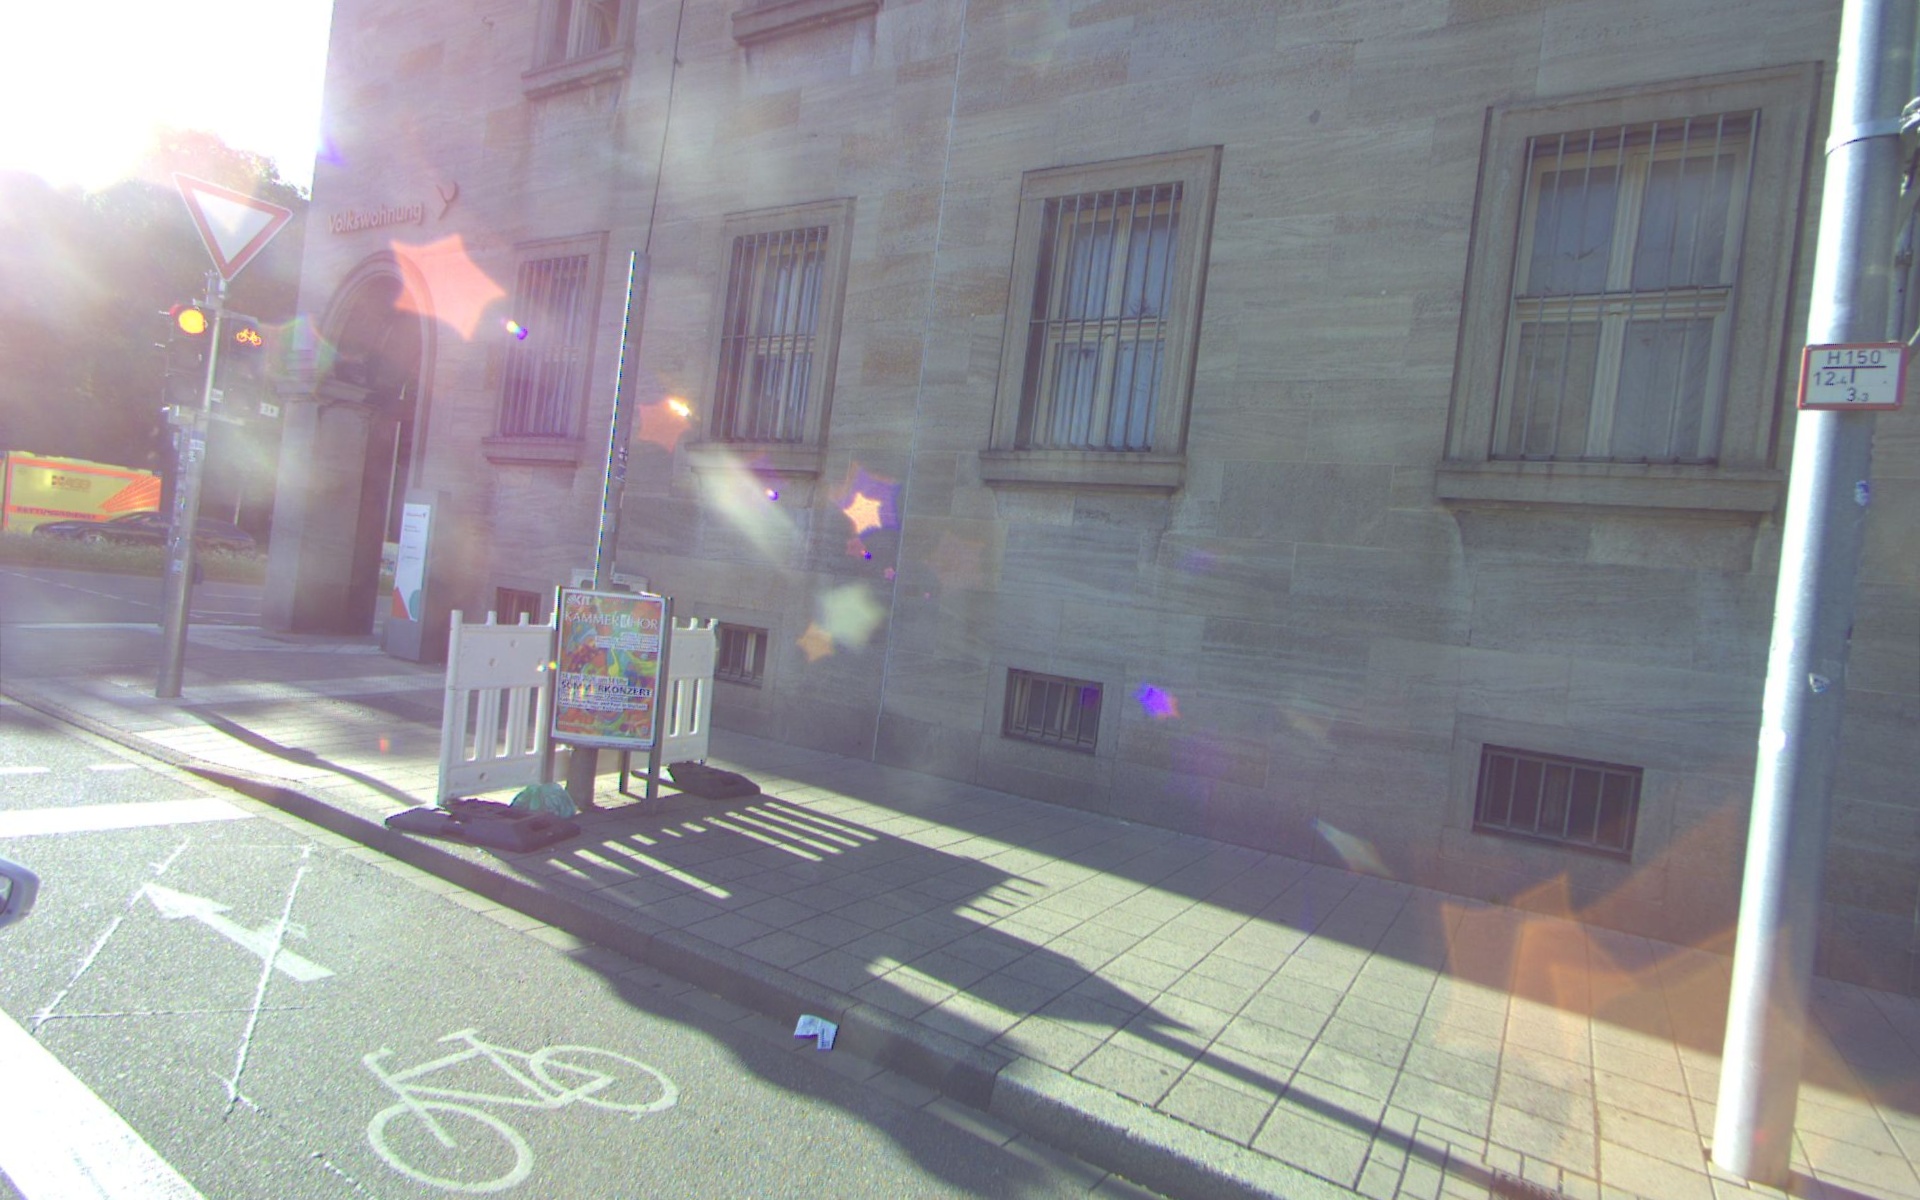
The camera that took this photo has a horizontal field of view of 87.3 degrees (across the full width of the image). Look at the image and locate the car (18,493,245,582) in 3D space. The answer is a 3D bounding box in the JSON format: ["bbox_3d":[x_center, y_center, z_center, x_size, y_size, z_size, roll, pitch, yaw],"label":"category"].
[{"bbox_3d":[-22.646,-1.664,27.679,1.857,1.665,4.324,6,-3,32],"label":"car"}]

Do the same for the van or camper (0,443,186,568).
[{"bbox_3d":[-27.704,-2.952,29.898,2.866,2.893,6.716,6,-3,36],"label":"van or camper"}]
